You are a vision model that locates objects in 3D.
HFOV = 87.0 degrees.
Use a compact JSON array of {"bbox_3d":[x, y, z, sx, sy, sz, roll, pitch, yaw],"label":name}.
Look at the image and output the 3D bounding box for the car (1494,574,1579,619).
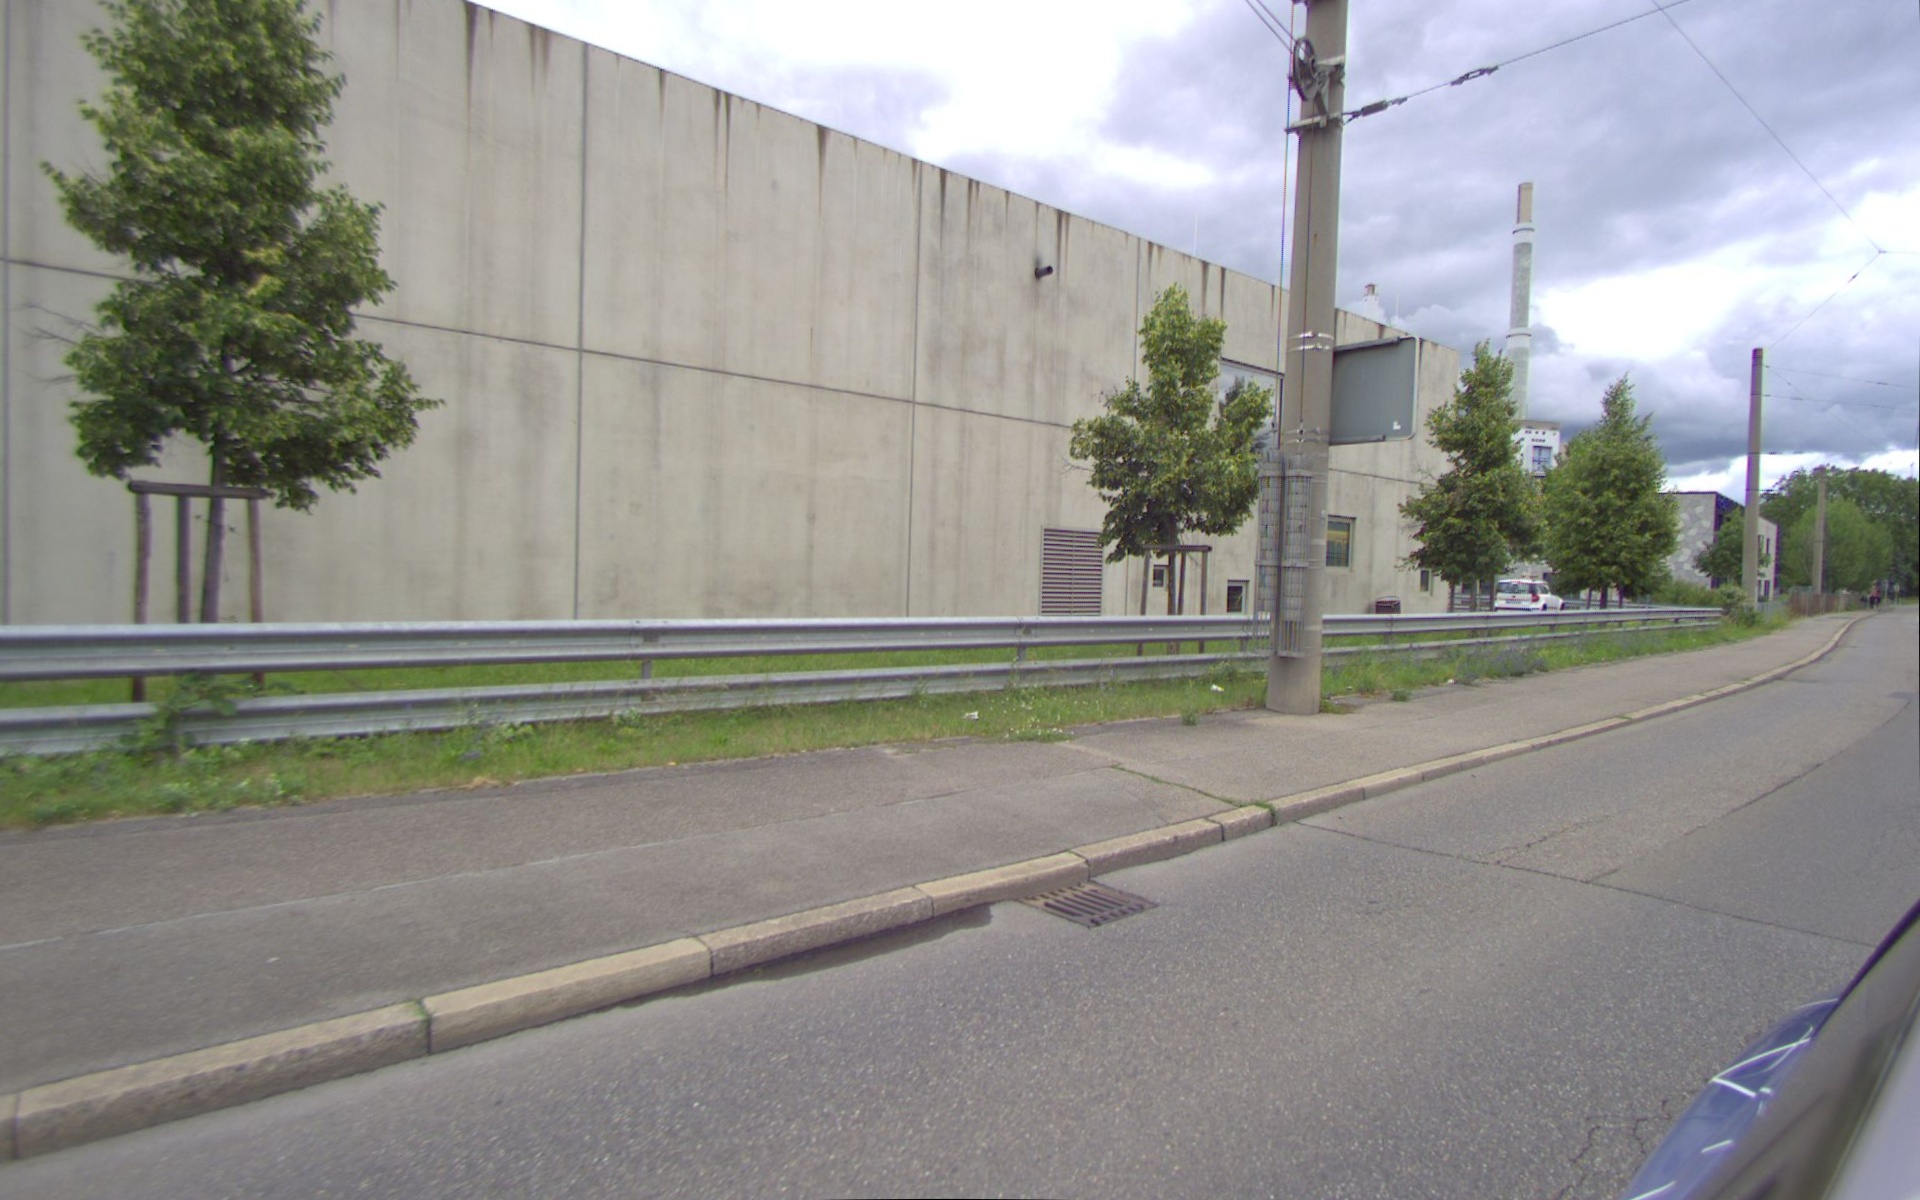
[{"bbox_3d":[21.856,-0.113,38.298,1.750,1.594,4.358,1,0,44],"label":"car"}]
